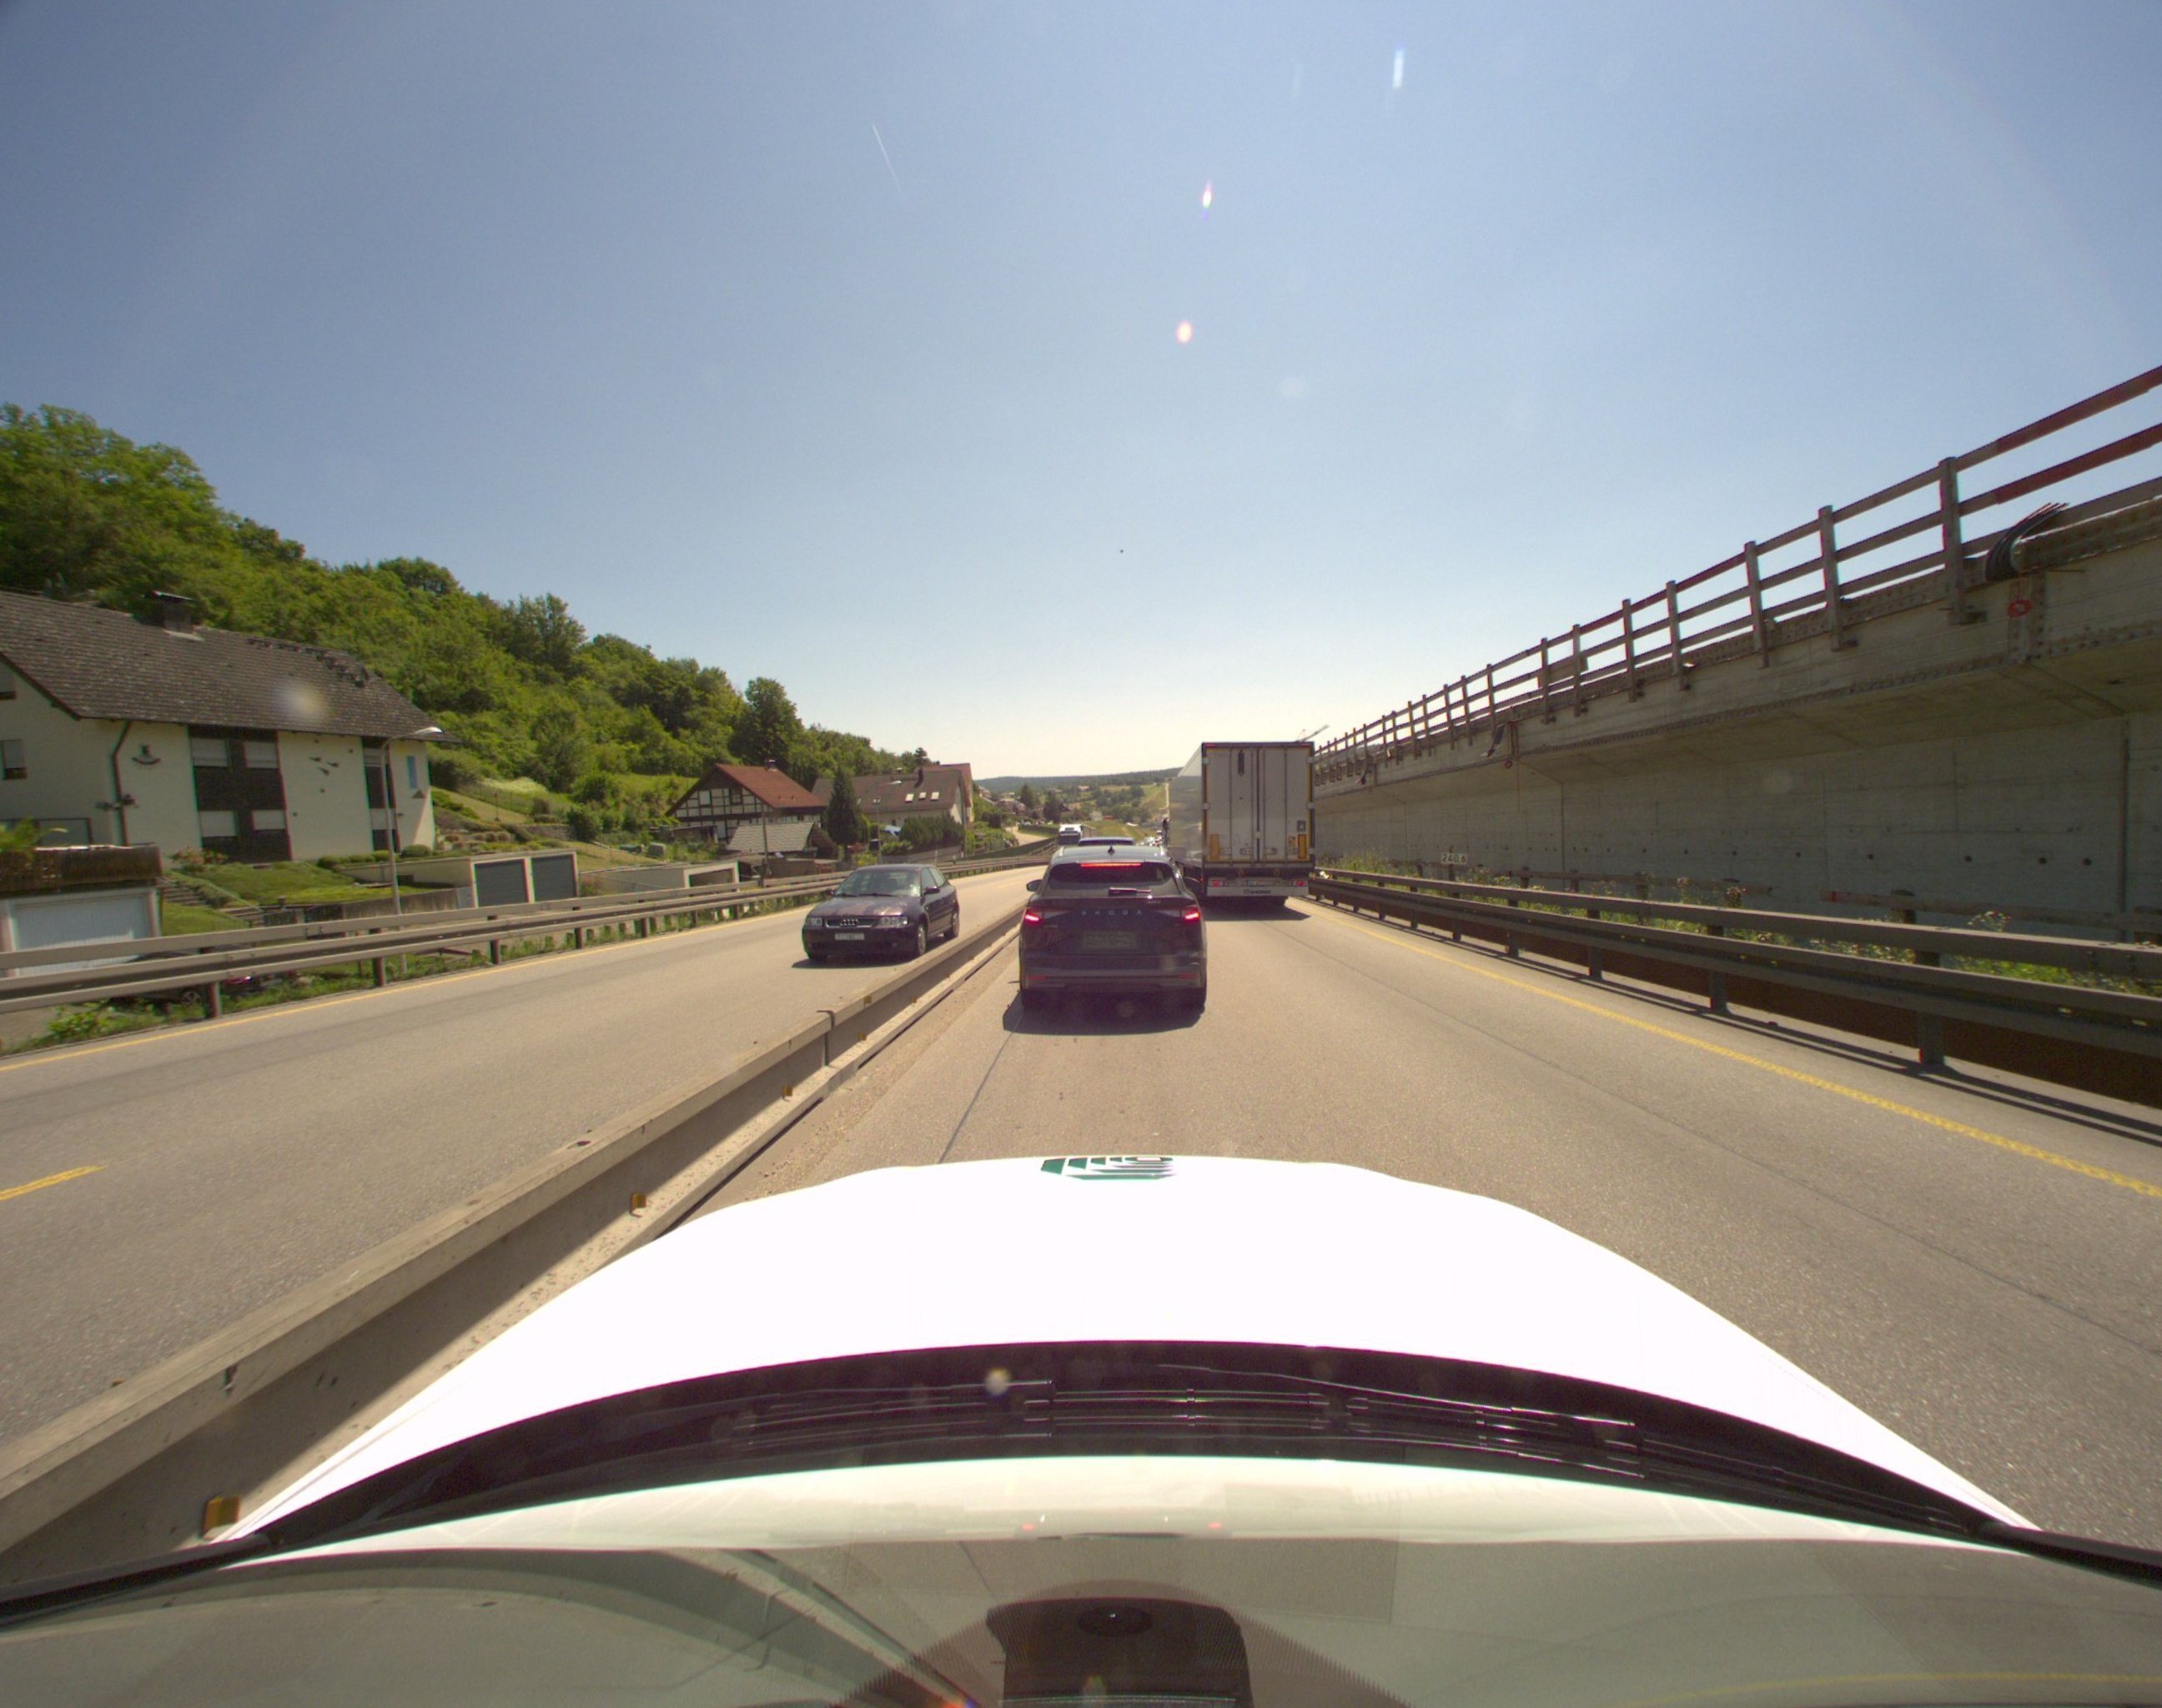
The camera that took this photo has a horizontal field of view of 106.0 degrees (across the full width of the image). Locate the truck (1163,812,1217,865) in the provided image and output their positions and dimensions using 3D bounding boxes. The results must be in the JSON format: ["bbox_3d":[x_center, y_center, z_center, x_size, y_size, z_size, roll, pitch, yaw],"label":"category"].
[{"bbox_3d":[7.313,-0.898,56.045,3.179,3.191,12.828,-1,-1,6],"label":"truck"}]

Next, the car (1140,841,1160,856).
[{"bbox_3d":[7.641,-0.563,90.484,1.985,1.585,3.839,0,-1,3],"label":"car"}]

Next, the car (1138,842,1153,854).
[{"bbox_3d":[9.044,-0.793,114.295,1.985,1.585,3.839,0,-1,3],"label":"car"}]

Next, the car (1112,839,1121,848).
[{"bbox_3d":[7.066,-2.004,160.172,1.694,1.728,3.839,0,-1,3],"label":"car"}]

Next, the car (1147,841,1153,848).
[{"bbox_3d":[18.500,-2.452,218.201,1.692,1.728,3.843,0,-1,7],"label":"car"}]

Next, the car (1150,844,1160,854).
[{"bbox_3d":[12.728,-0.816,139.901,1.692,1.728,3.843,0,-1,7],"label":"car"}]

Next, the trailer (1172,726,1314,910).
[{"bbox_3d":[4.302,-0.763,24.166,2.521,4.127,11.557,0,-1,3],"label":"trailer"}]

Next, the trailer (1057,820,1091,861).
[{"bbox_3d":[-0.685,-1.460,87.222,2.744,4.070,8.020,0,1,5],"label":"trailer"}]

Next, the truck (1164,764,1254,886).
[{"bbox_3d":[4.661,-0.931,31.050,2.503,4.025,8.243,0,-1,3],"label":"truck"}]

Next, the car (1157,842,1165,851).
[{"bbox_3d":[17.330,-1.647,176.112,1.692,1.728,3.843,0,-1,7],"label":"car"}]

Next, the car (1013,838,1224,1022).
[{"bbox_3d":[0.278,0.682,9.088,1.838,1.586,3.904,0,-1,-2],"label":"car"}]

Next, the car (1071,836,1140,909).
[{"bbox_3d":[0.612,0.434,23.023,1.702,1.881,3.998,0,1,-2],"label":"car"}]

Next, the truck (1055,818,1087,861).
[{"bbox_3d":[-1.021,-1.485,83.567,2.739,4.283,4.964,0,0,5],"label":"truck"}]

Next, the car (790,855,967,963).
[{"bbox_3d":[-3.132,0.780,13.459,1.711,1.408,4.003,-2,0,3],"label":"car"}]

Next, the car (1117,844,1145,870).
[{"bbox_3d":[3.171,0.165,52.282,1.700,1.622,4.002,0,1,2],"label":"car"}]

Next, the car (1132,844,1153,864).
[{"bbox_3d":[5.342,-0.041,71.030,1.700,1.622,4.002,0,1,2],"label":"car"}]
